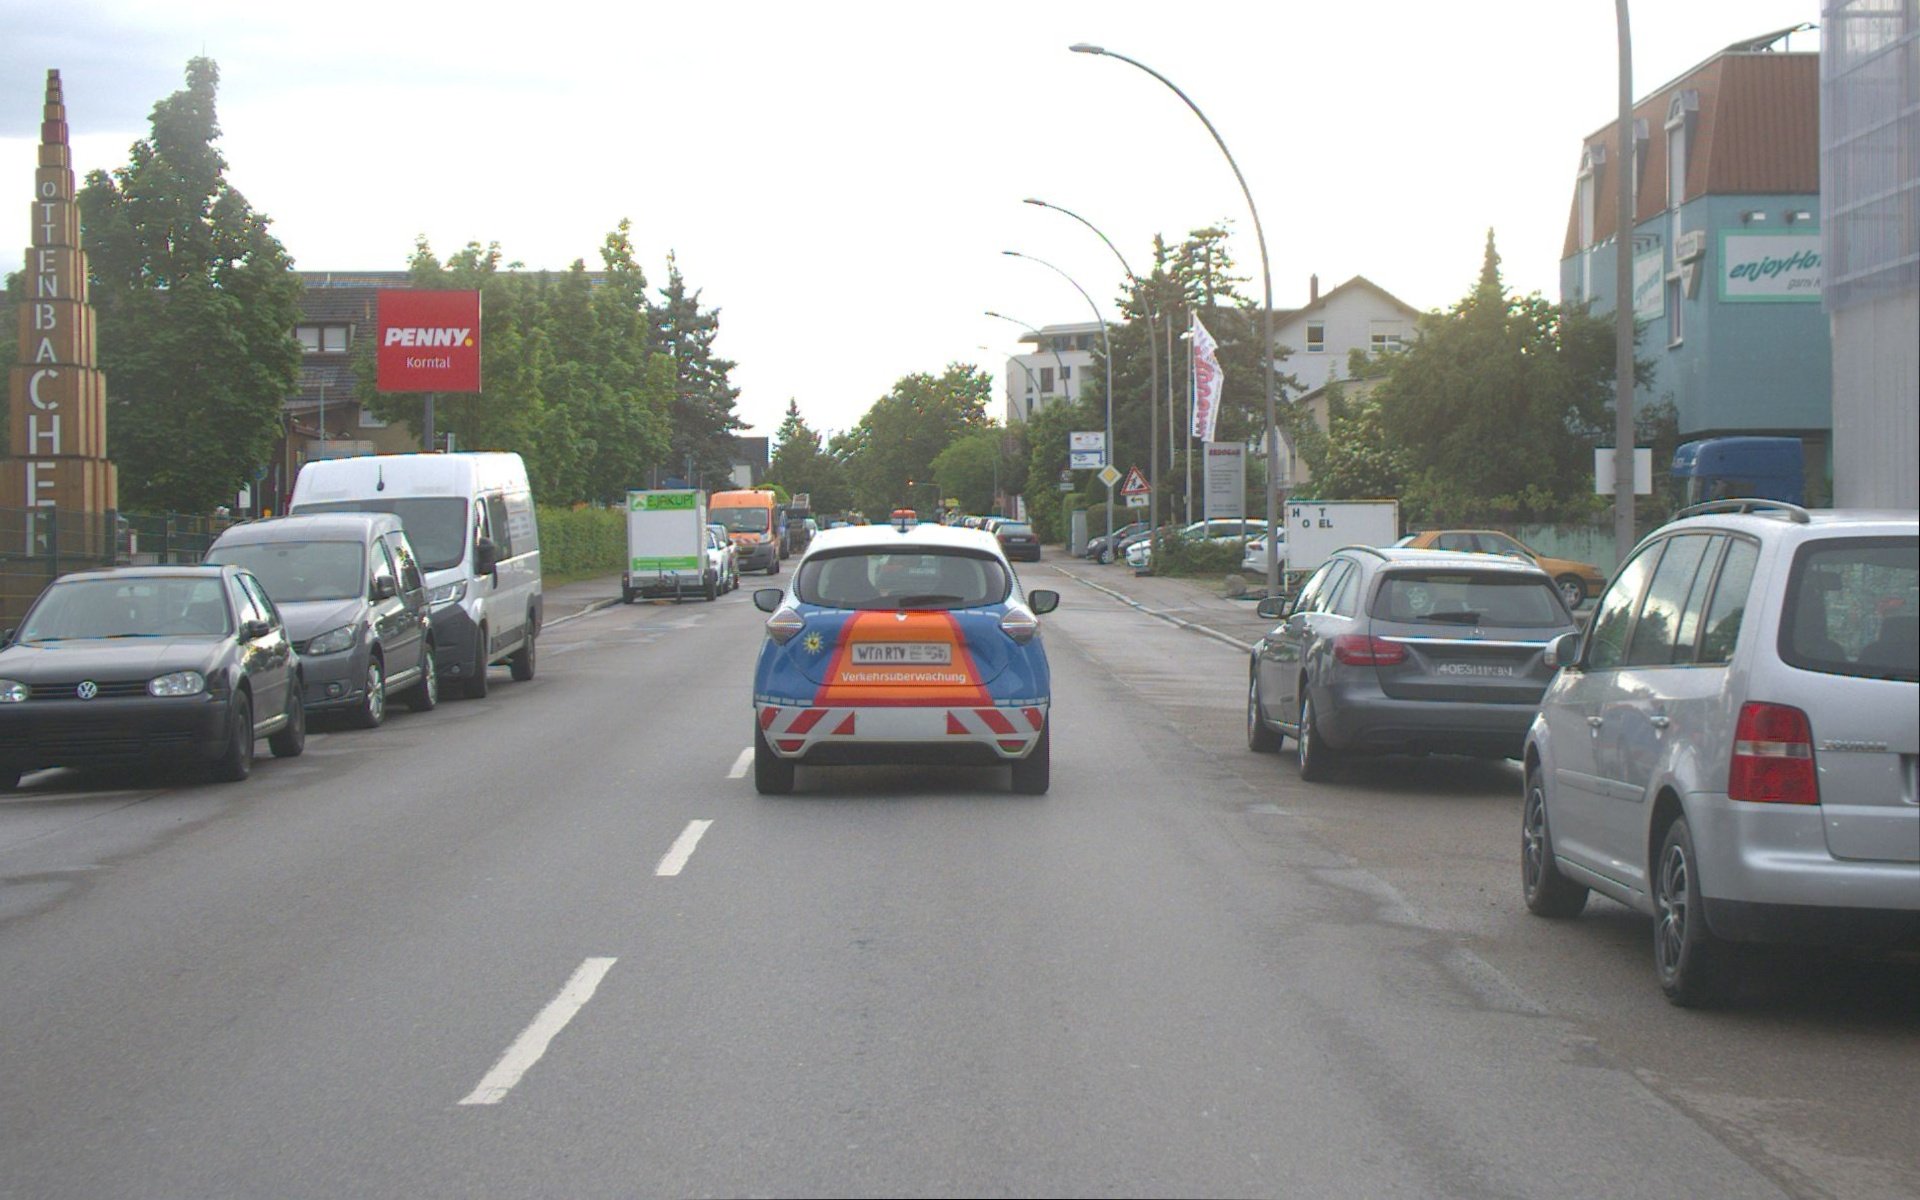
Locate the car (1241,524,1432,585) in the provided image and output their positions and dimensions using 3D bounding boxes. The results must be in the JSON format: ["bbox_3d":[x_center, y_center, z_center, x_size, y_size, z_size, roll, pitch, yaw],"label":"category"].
[{"bbox_3d":[9.247,-1.126,84.611,4.415,1.388,1.880,1,1,-1],"label":"car"}]

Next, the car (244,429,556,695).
[{"bbox_3d":[-5.698,-0.428,35.880,2.158,2.418,6.460,-3,1,-1],"label":"car"}]

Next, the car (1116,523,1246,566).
[{"bbox_3d":[6.941,-1.737,108.404,3.987,1.262,1.951,1,1,1],"label":"car"}]

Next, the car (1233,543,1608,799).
[{"bbox_3d":[2.877,0.383,22.391,1.738,1.461,4.546,1,1,-1],"label":"car"}]

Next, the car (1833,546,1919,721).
[{"bbox_3d":[10.271,0.346,31.061,4.243,1.530,1.812,2,1,0],"label":"car"}]

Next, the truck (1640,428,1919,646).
[{"bbox_3d":[14.913,-1.147,62.751,4.143,3.661,2.720,3,1,-3],"label":"truck"}]

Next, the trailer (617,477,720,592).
[{"bbox_3d":[-6.177,-1.411,73.274,1.812,2.306,4.731,-2,1,-1],"label":"trailer"}]

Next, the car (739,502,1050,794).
[{"bbox_3d":[-0.413,0.240,20.915,1.731,1.625,3.495,0,1,-2],"label":"car"}]

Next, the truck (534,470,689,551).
[{"bbox_3d":[-13.931,-3.579,137.693,5.911,3.063,2.450,1,1,0],"label":"truck"}]

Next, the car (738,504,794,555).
[{"bbox_3d":[-7.605,-2.785,135.222,1.993,1.940,5.366,0,1,-1],"label":"car"}]

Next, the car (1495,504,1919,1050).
[{"bbox_3d":[3.125,0.509,12.448,1.739,1.616,4.373,1,1,1],"label":"car"}]

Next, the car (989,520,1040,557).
[{"bbox_3d":[1.975,-2.244,125.445,1.589,1.336,4.093,0,1,-2],"label":"car"}]

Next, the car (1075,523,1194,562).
[{"bbox_3d":[6.082,-1.999,120.074,3.986,1.262,1.951,1,1,-2],"label":"car"}]

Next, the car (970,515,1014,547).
[{"bbox_3d":[1.463,-3.154,157.360,1.711,1.433,4.527,1,1,-3],"label":"car"}]

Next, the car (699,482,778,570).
[{"bbox_3d":[-6.592,-2.247,103.027,2.124,2.529,6.023,-1,2,-2],"label":"car"}]

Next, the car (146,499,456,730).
[{"bbox_3d":[-5.670,0.086,30.096,1.769,1.762,4.446,-3,1,0],"label":"car"}]

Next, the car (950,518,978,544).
[{"bbox_3d":[0.232,-4.582,227.704,1.650,1.666,4.001,1,1,-2],"label":"car"}]

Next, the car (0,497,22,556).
[{"bbox_3d":[-24.637,-1.798,82.180,3.976,1.382,1.804,1,1,-5],"label":"car"}]

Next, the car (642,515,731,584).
[{"bbox_3d":[-6.192,-1.174,78.164,1.772,1.493,4.137,0,2,-1],"label":"car"}]

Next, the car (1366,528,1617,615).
[{"bbox_3d":[9.072,-0.501,58.847,3.986,1.425,1.631,0,1,-2],"label":"car"}]

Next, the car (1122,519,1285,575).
[{"bbox_3d":[6.723,-1.466,95.241,4.338,1.470,1.903,1,1,-1],"label":"car"}]

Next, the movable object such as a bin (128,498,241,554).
[{"bbox_3d":[-25.547,-2.441,113.343,3.421,1.753,2.000,1,1,-7],"label":"movable object such as a bin"}]

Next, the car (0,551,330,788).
[{"bbox_3d":[-5.493,0.407,23.660,1.661,1.443,4.318,-1,1,-2],"label":"car"}]
